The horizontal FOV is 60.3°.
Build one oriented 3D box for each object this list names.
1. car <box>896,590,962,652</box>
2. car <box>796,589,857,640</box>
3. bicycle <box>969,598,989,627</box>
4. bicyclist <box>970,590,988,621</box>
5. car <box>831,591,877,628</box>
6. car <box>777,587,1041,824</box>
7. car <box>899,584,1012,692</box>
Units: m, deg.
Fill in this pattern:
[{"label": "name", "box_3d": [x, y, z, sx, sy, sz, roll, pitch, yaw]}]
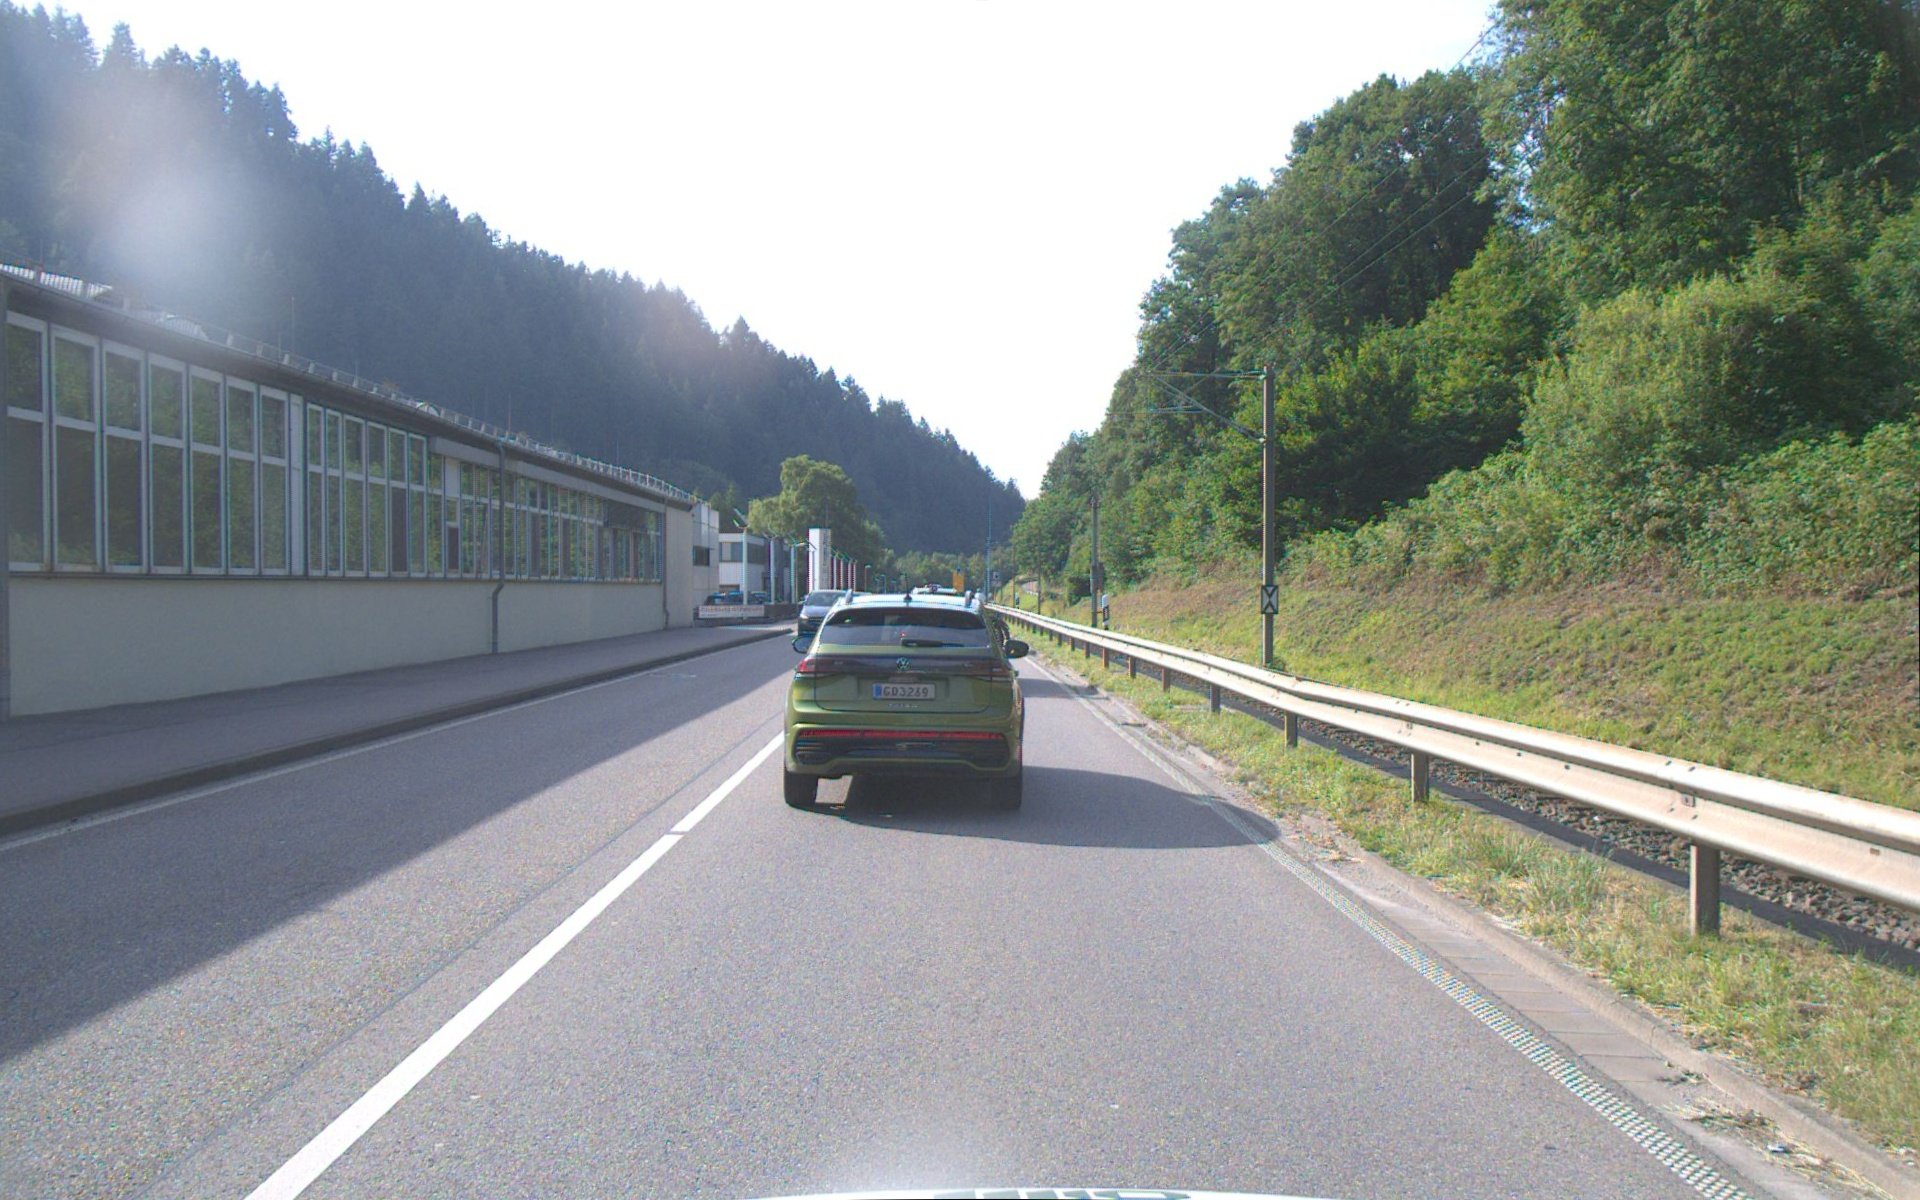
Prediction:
[{"label": "car", "box_3d": [-0.873, 0.546, 45.479, 1.704, 1.630, 3.999, 1, 0, -2]}, {"label": "car", "box_3d": [-4.286, 0.447, 53.634, 1.684, 1.540, 4.198, 2, 0, -1]}, {"label": "bicycle", "box_3d": [0.884, 0.564, 75.920, 0.795, 1.272, 2.121, 0, 0, -3]}, {"label": "bicyclist", "box_3d": [0.865, 0.260, 76.198, 0.766, 1.436, 0.674, 0, 0, -3]}, {"label": "car", "box_3d": [-4.538, 0.384, 71.302, 1.737, 1.516, 4.051, 2, 0, -1]}, {"label": "car", "box_3d": [-0.388, 0.684, 12.772, 1.704, 1.534, 3.999, 0, 0, -2]}, {"label": "car", "box_3d": [-0.123, 0.575, 27.323, 1.704, 1.630, 3.999, 1, 0, -2]}]
